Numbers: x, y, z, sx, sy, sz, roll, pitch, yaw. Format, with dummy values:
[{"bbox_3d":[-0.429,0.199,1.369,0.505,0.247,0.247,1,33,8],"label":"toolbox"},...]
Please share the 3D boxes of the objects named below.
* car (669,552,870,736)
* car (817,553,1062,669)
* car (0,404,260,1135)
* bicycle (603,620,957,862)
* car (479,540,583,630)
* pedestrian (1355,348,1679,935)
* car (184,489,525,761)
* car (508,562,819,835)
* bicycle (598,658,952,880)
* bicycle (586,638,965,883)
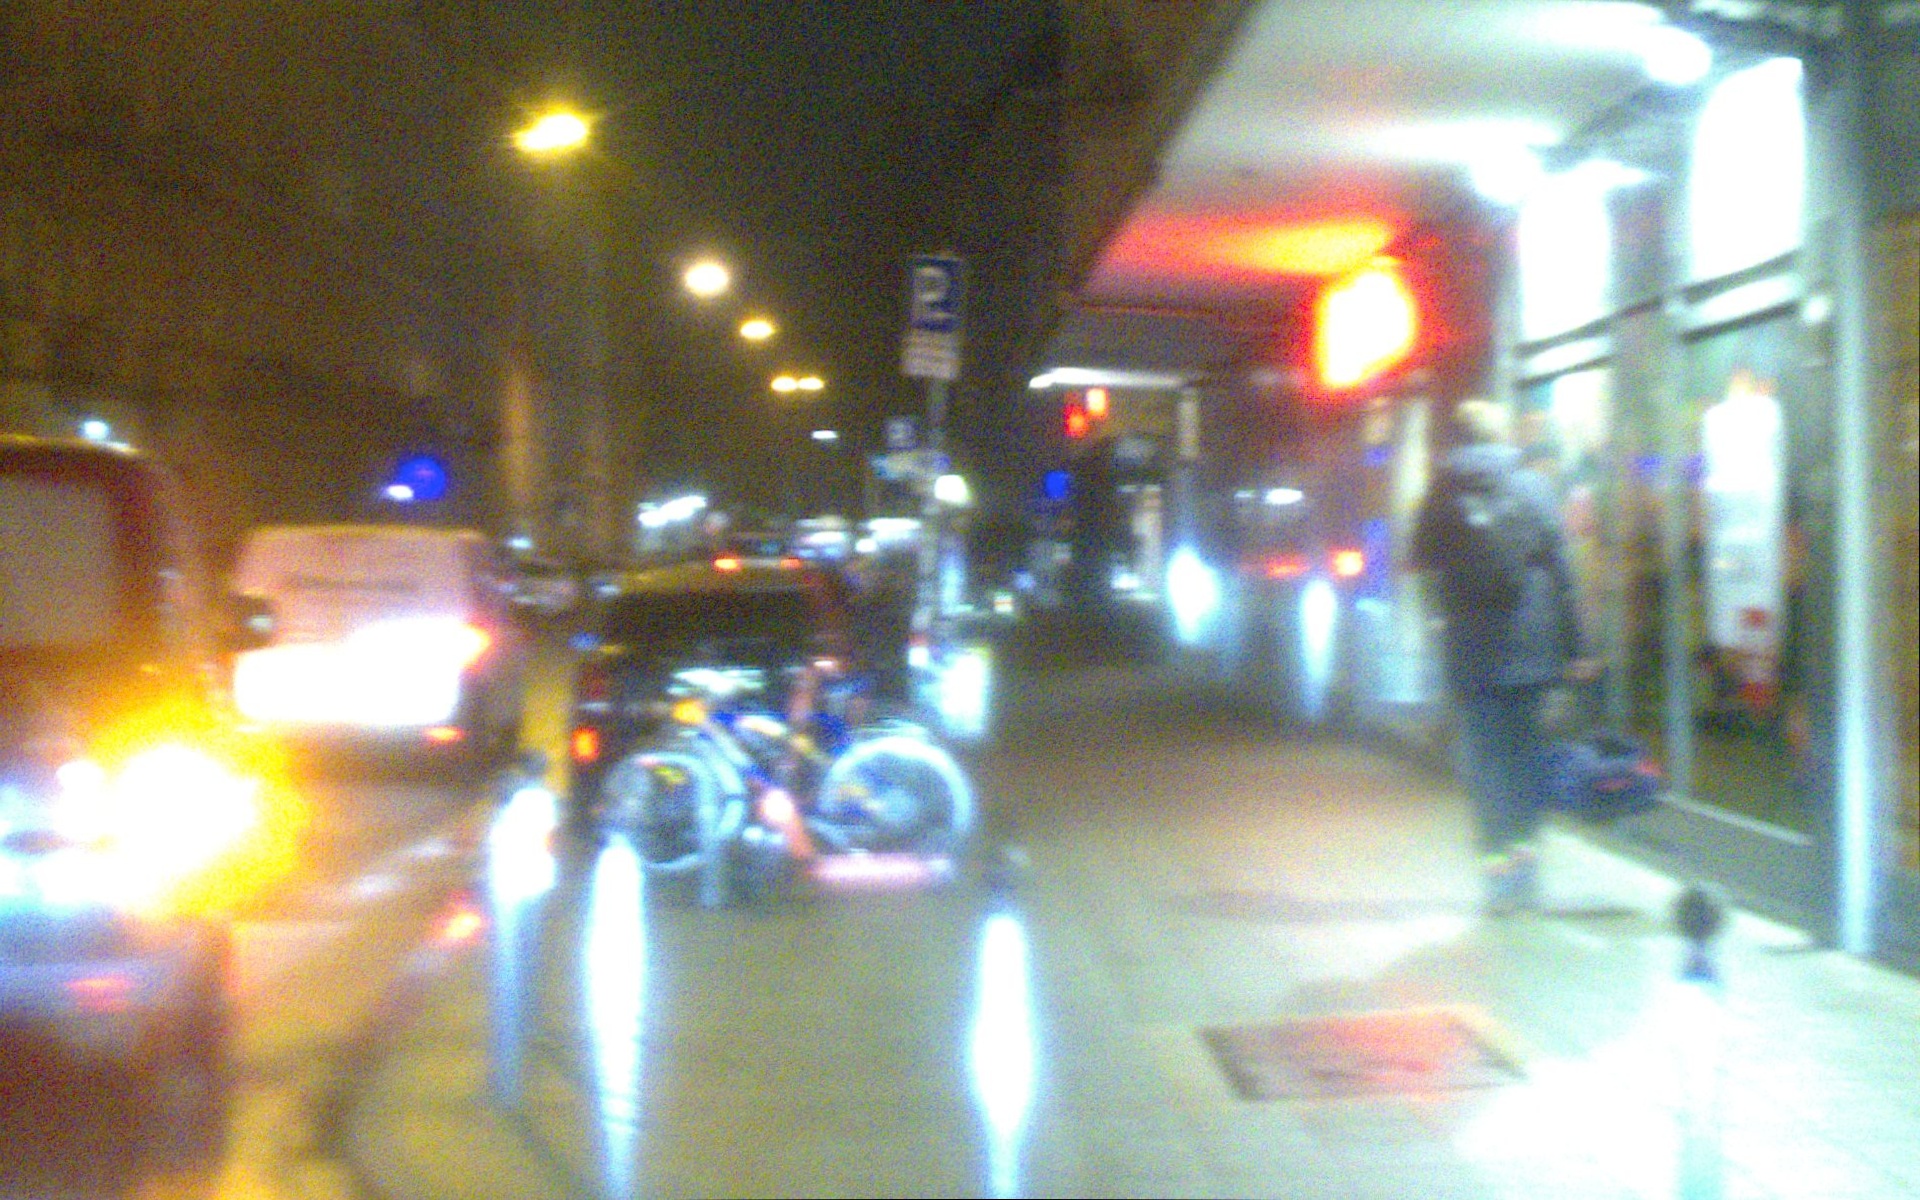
[{"bbox_3d":[-1.754,0.392,32.446,1.753,1.602,3.990,1,0,-2],"label":"car"},{"bbox_3d":[-0.382,0.200,61.962,3.986,2.007,2.000,-1,-1,-17],"label":"car"},{"bbox_3d":[-3.567,0.423,11.444,2.122,1.984,4.602,0,1,-15],"label":"car"},{"bbox_3d":[-0.940,0.731,18.016,1.762,1.121,0.436,-4,1,-2],"label":"bicycle"},{"bbox_3d":[-10.147,-0.363,81.638,1.993,2.007,4.000,2,0,-1],"label":"car"},{"bbox_3d":[2.168,0.154,13.525,1.054,2.201,0.970,-1,0,-1],"label":"pedestrian"},{"bbox_3d":[-4.625,0.135,26.939,2.122,1.916,4.827,1,1,-4],"label":"car"},{"bbox_3d":[-1.807,0.572,22.055,1.753,1.560,4.155,1,0,-2],"label":"car"},{"bbox_3d":[-0.931,0.846,17.392,1.762,1.075,0.436,0,1,-2],"label":"bicycle"},{"bbox_3d":[-0.881,0.762,16.508,1.783,1.121,0.436,-1,1,-2],"label":"bicycle"}]
